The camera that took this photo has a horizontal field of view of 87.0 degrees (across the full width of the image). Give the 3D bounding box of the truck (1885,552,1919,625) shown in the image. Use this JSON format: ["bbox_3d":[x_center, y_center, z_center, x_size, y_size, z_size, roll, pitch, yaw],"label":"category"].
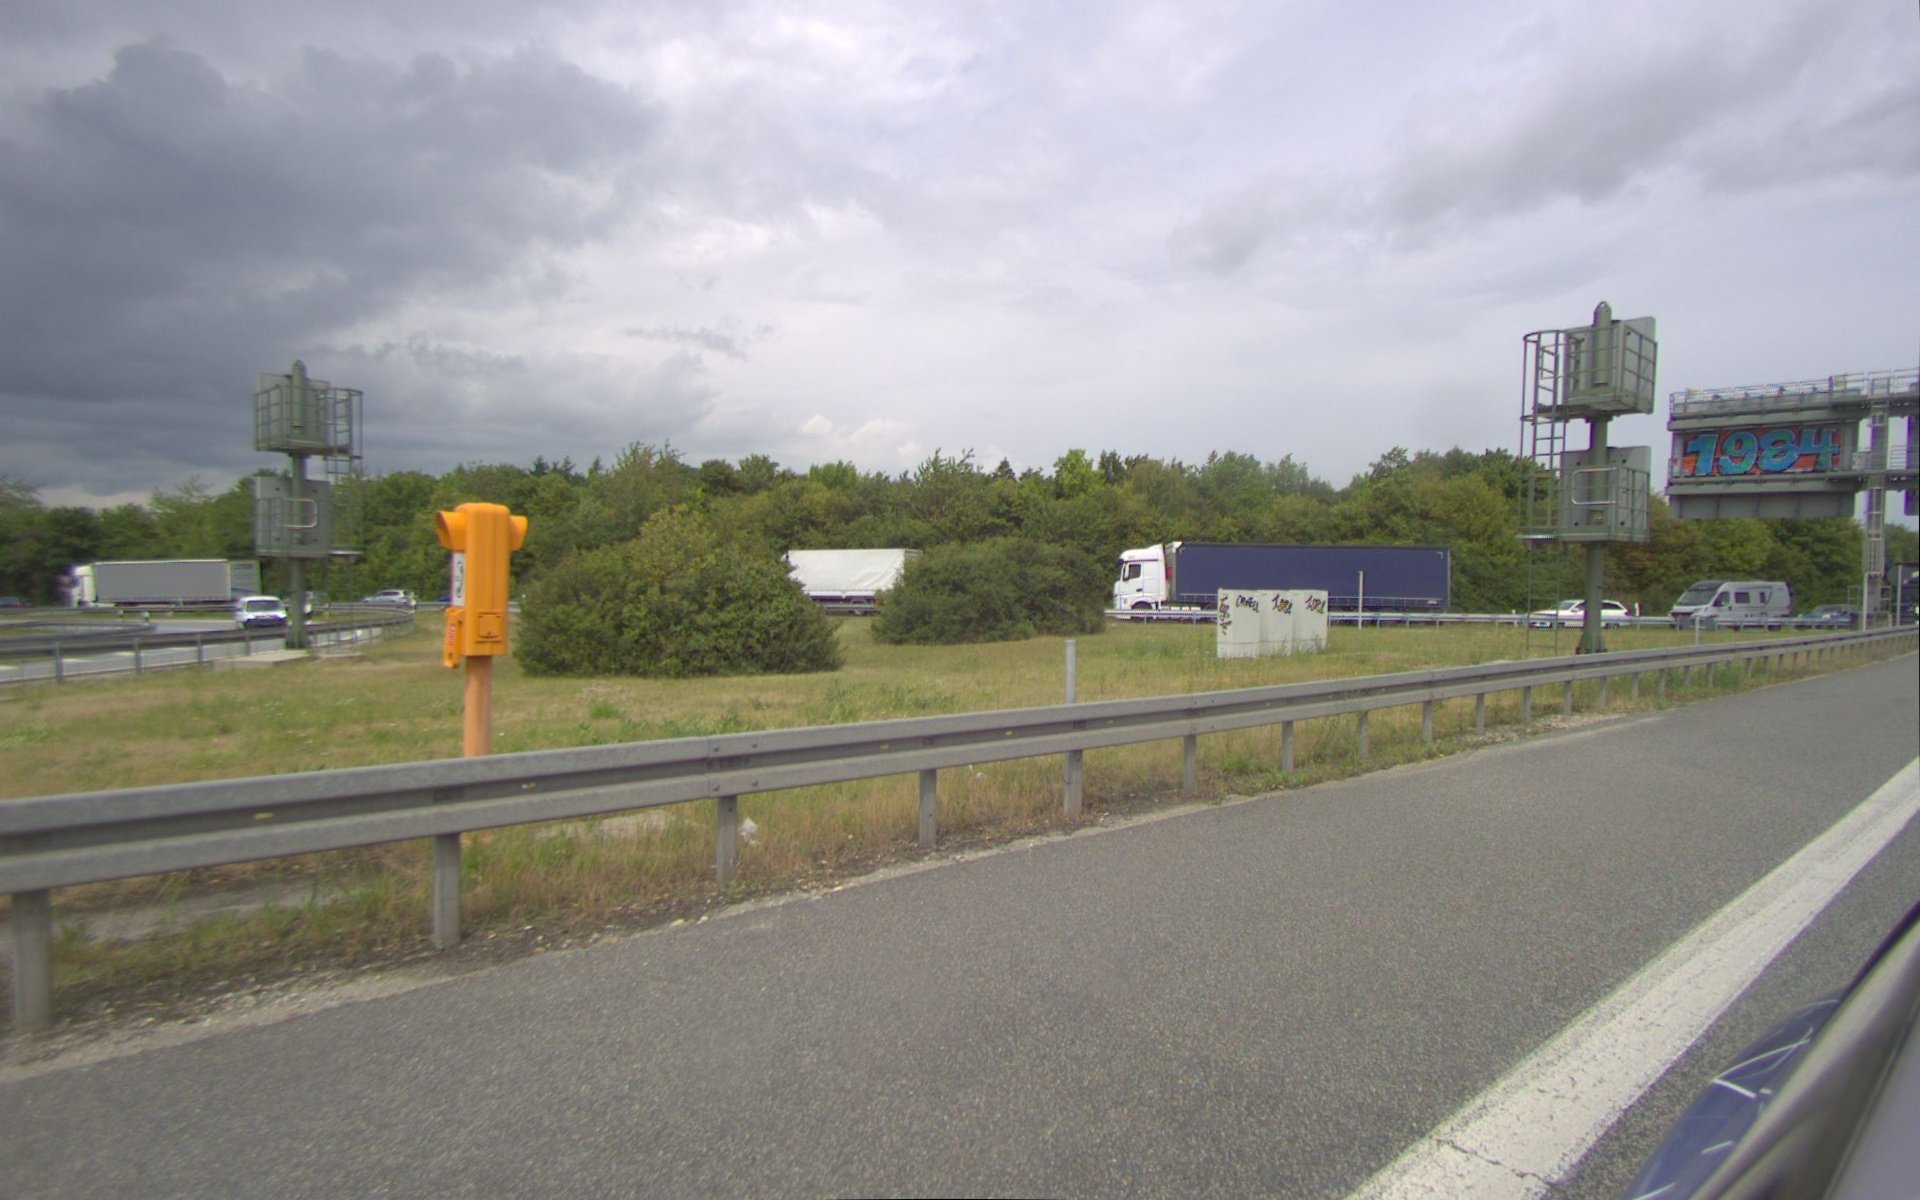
[{"bbox_3d":[57.470,-0.624,58.269,10.130,4.004,3.031,0,0,-28],"label":"truck"}]

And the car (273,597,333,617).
[{"bbox_3d":[-49.790,0.511,76.656,3.948,1.505,1.822,0,0,19],"label":"car"}]

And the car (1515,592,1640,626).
[{"bbox_3d":[29.788,0.416,48.920,4.692,1.520,2.215,0,1,-4],"label":"car"}]

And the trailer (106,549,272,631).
[{"bbox_3d":[-60.867,-0.748,79.942,11.919,6.165,4.000,0,0,15],"label":"trailer"}]

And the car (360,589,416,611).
[{"bbox_3d":[-41.509,-0.005,73.437,3.956,1.552,1.558,0,0,24],"label":"car"}]

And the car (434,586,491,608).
[{"bbox_3d":[-34.264,-0.185,69.682,3.963,1.487,1.485,0,0,29],"label":"car"}]

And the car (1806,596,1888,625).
[{"bbox_3d":[46.146,0.535,52.658,3.589,1.437,1.738,0,0,-22],"label":"car"}]

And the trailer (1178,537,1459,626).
[{"bbox_3d":[17.702,-0.932,50.718,12.794,4.246,3.339,0,0,3],"label":"trailer"}]

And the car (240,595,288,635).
[{"bbox_3d":[-33.406,0.723,48.630,1.766,1.772,4.000,-2,0,-34],"label":"car"}]

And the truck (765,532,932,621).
[{"bbox_3d":[-6.271,-1.245,56.789,8.885,4.674,3.259,0,0,22],"label":"truck"}]

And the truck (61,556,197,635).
[{"bbox_3d":[-66.926,-0.299,81.582,8.845,6.150,4.051,0,0,14],"label":"truck"}]

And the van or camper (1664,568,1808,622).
[{"bbox_3d":[38.415,-0.248,50.136,6.031,2.600,2.306,0,1,-13],"label":"van or camper"}]

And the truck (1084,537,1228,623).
[{"bbox_3d":[9.785,-0.998,51.135,6.664,4.147,3.368,0,0,2],"label":"truck"}]
